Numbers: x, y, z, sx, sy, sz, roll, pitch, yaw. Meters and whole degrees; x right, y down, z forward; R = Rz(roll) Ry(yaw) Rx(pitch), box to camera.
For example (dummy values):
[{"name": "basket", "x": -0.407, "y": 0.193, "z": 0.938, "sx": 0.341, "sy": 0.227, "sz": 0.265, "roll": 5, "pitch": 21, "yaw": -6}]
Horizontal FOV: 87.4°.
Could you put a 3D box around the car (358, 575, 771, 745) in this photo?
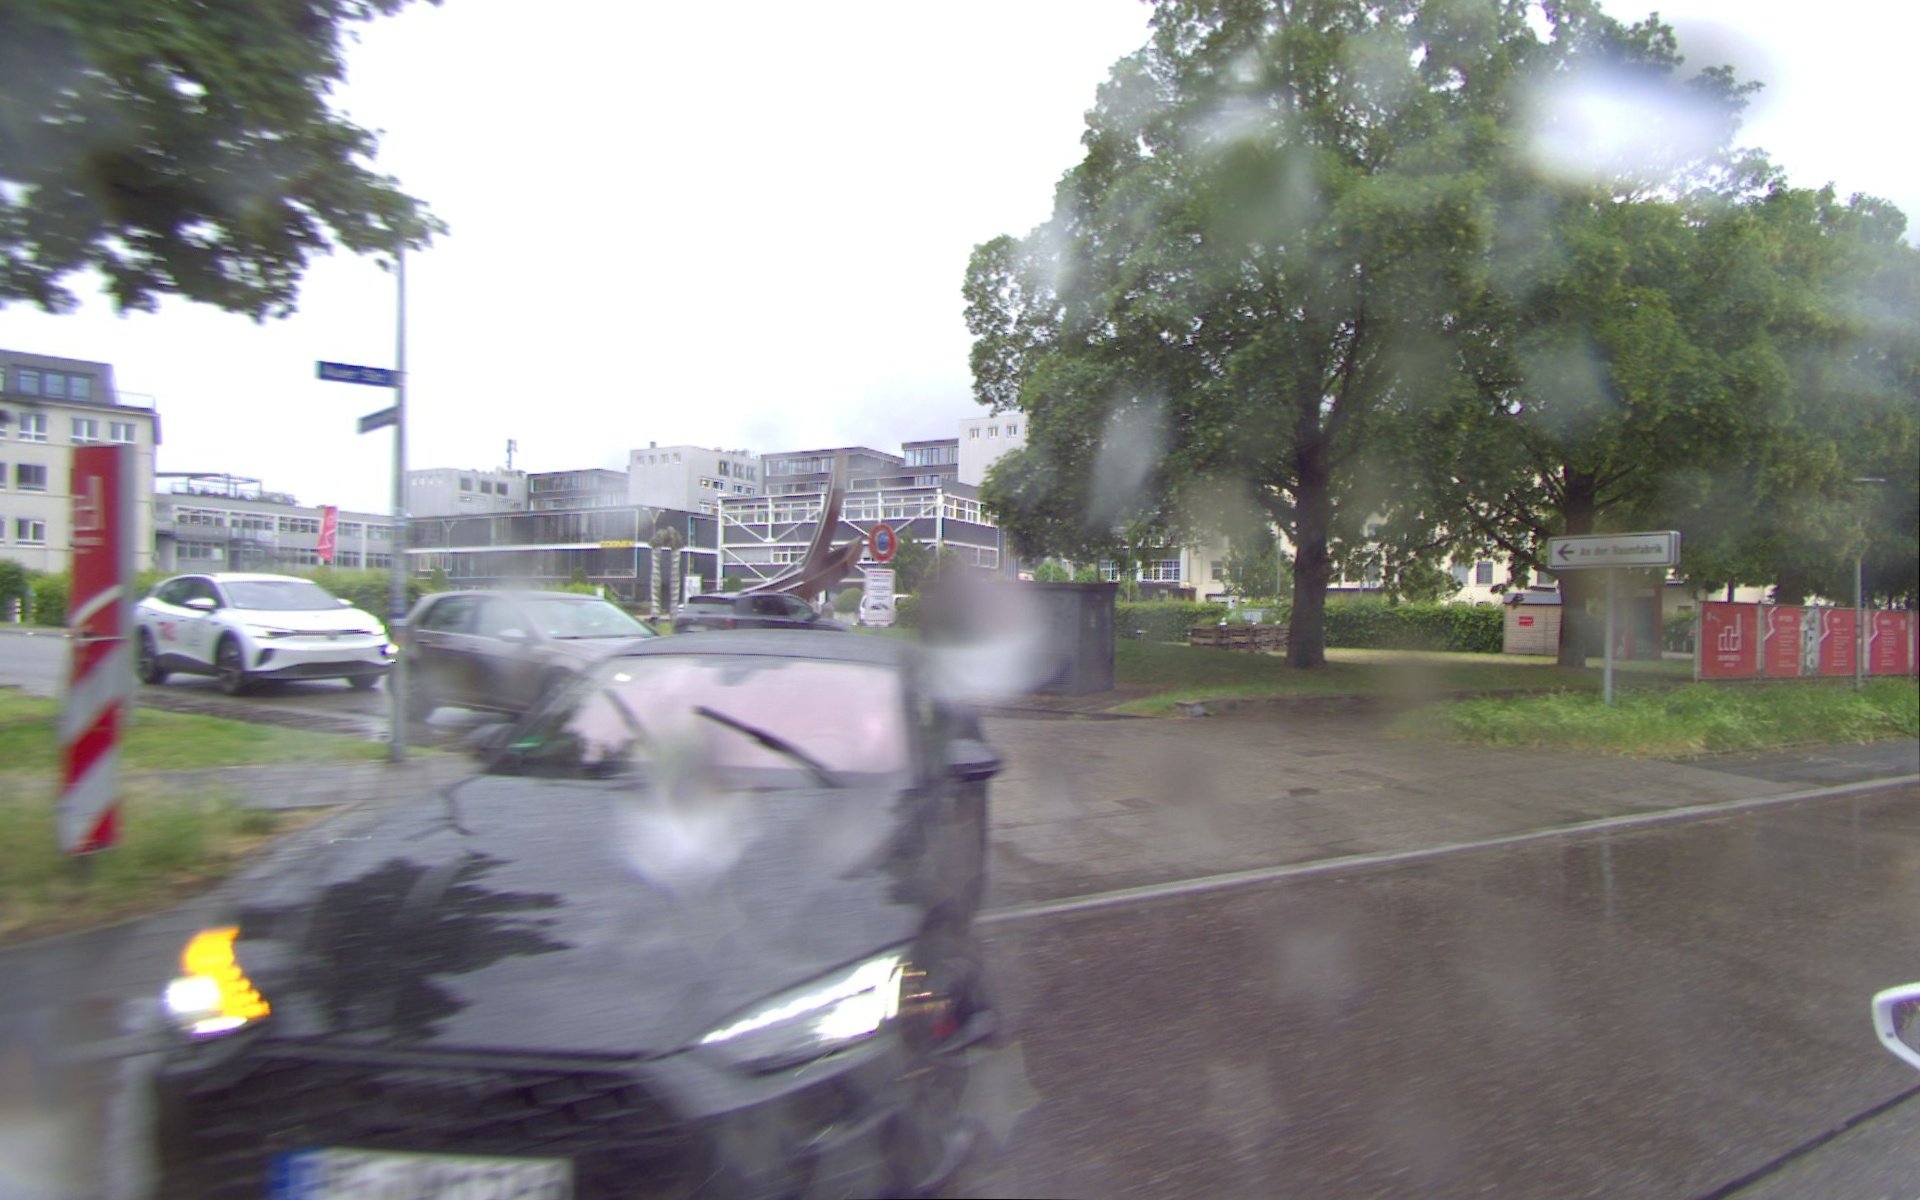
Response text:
[{"name": "car", "x": -4.372, "y": 0.528, "z": 10.974, "sx": 4.263, "sy": 1.414, "sz": 2.009, "roll": 3, "pitch": 0, "yaw": 31}]

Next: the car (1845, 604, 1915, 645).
[{"name": "car", "x": 52.098, "y": 1.379, "z": 56.946, "sx": 1.964, "sy": 2.150, "sz": 3.993, "roll": 2, "pitch": 0, "yaw": 29}]

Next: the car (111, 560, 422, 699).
[{"name": "car", "x": -10.141, "y": 0.345, "z": 14.608, "sx": 4.567, "sy": 1.729, "sz": 2.041, "roll": 1, "pitch": 0, "yaw": 32}]

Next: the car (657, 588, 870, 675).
[{"name": "car", "x": -3.784, "y": 0.581, "z": 20.093, "sx": 1.758, "sy": 1.529, "sz": 4.290, "roll": 0, "pitch": -1, "yaw": 31}]

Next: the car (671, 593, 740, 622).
[{"name": "car", "x": -18.576, "y": 0.593, "z": 73.546, "sx": 1.966, "sy": 2.040, "sz": 4.840, "roll": 1, "pitch": 0, "yaw": 33}]

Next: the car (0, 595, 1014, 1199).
[{"name": "car", "x": -0.824, "y": 0.779, "z": 4.175, "sx": 2.044, "sy": 1.473, "sz": 4.930, "roll": 1, "pitch": -1, "yaw": 3}]

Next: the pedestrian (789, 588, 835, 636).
[{"name": "pedestrian", "x": -5.869, "y": 0.463, "z": 39.899, "sx": 1.054, "sy": 1.864, "sz": 1.474, "roll": 1, "pitch": 0, "yaw": 42}]

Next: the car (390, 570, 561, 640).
[{"name": "car", "x": -16.178, "y": 0.189, "z": 33.832, "sx": 1.964, "sy": 2.180, "sz": 4.965, "roll": 1, "pitch": 0, "yaw": 29}]

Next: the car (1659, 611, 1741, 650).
[{"name": "car", "x": 32.458, "y": 1.334, "z": 44.206, "sx": 1.961, "sy": 1.578, "sz": 3.999, "roll": 1, "pitch": -1, "yaw": 22}]

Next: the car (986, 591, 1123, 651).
[{"name": "car", "x": 2.782, "y": 0.582, "z": 28.680, "sx": 1.967, "sy": 1.547, "sz": 4.420, "roll": 1, "pitch": 0, "yaw": 35}]
